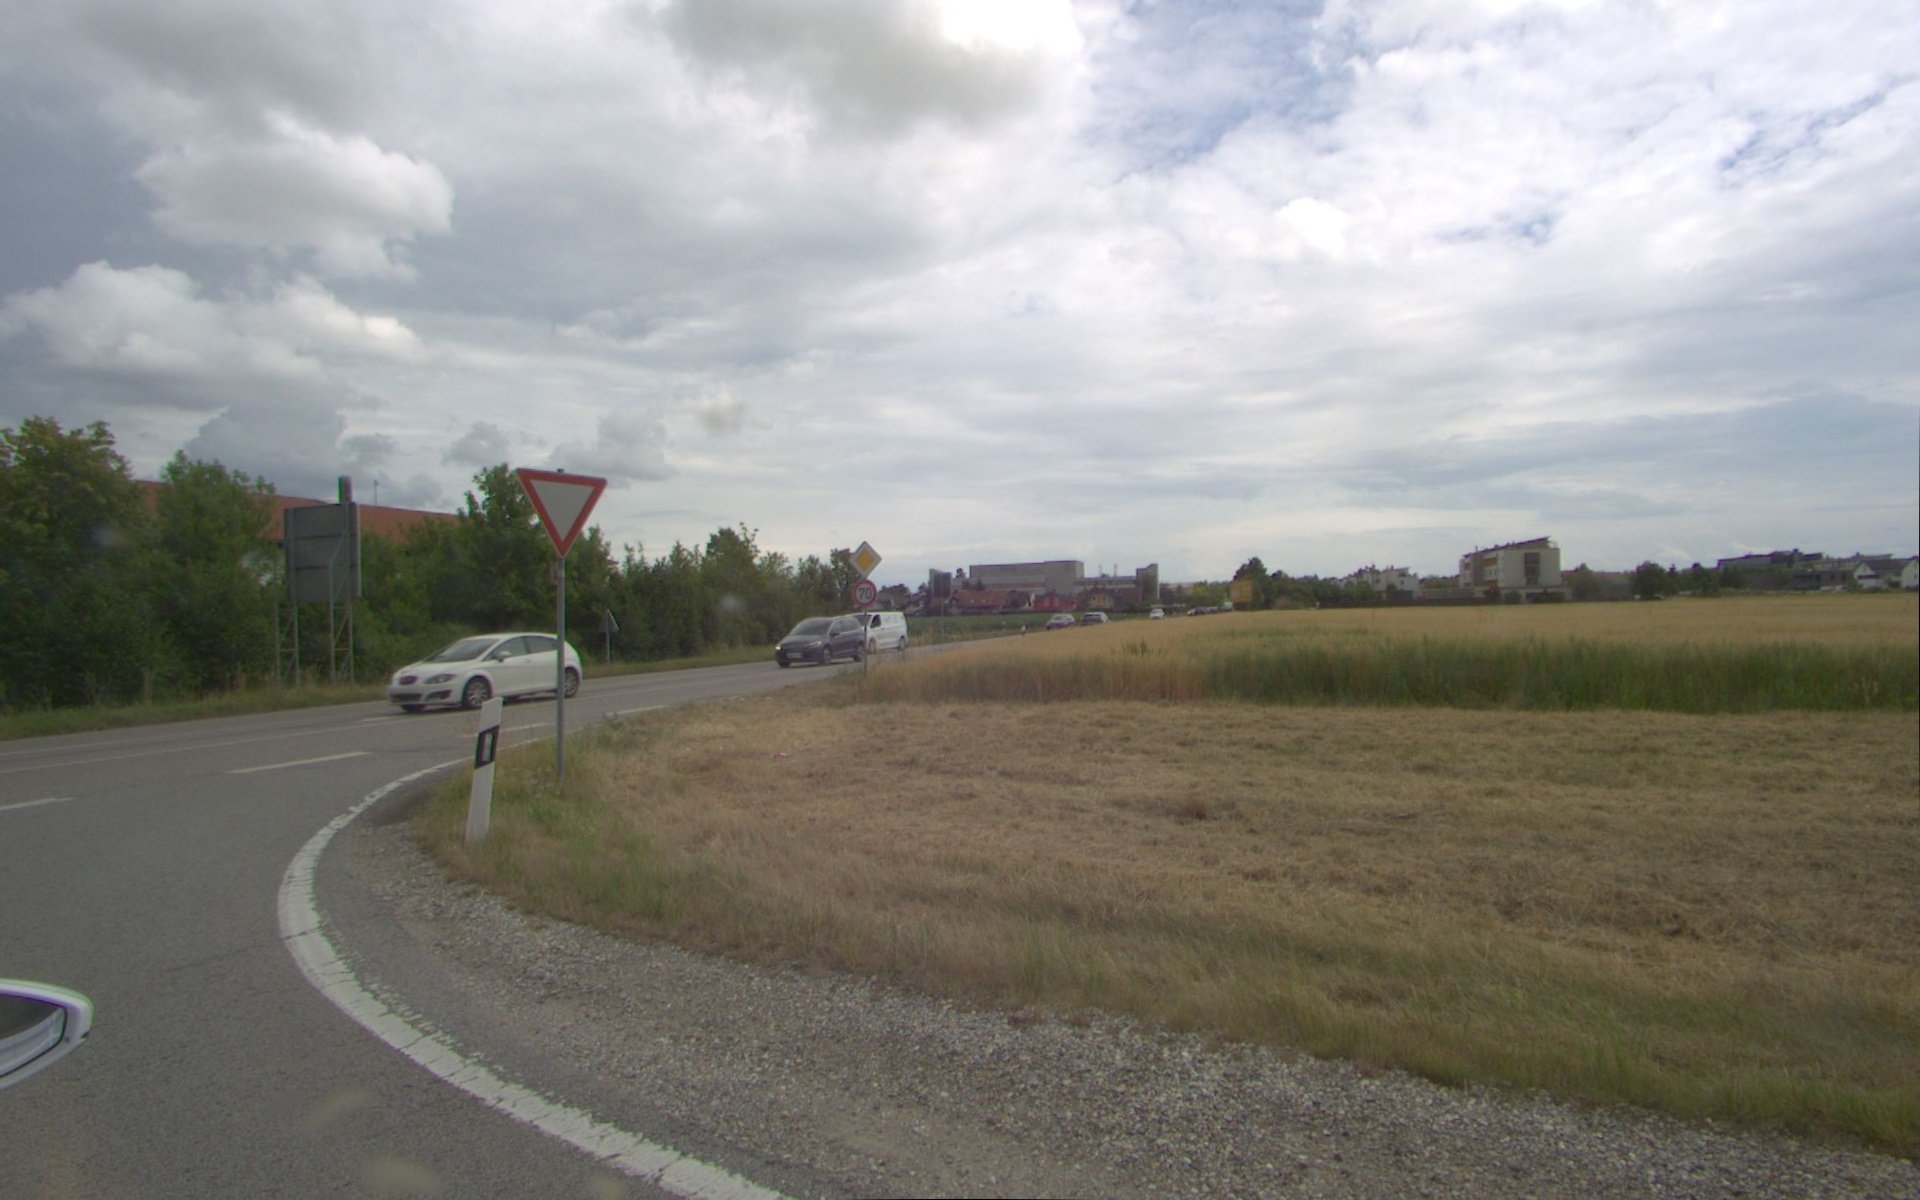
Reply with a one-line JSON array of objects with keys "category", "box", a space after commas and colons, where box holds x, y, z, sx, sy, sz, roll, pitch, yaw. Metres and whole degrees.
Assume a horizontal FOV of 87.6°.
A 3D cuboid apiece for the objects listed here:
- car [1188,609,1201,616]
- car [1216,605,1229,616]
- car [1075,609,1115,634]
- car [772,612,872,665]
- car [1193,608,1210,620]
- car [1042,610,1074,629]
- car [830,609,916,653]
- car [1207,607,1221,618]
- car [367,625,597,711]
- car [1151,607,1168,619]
[{"category": "car", "box": [40.959, 2.192, 174.869, 1.745, 1.257, 4.204, -2, -1, 17]}, {"category": "car", "box": [50.916, 1.988, 194.214, 2.084, 2.040, 4.730, -1, 0, 19]}, {"category": "car", "box": [9.197, 1.453, 68.060, 1.832, 1.586, 3.990, -1, 0, 21]}, {"category": "car", "box": [-4.780, 1.305, 35.229, 1.723, 1.680, 4.283, -3, -1, 18]}, {"category": "car", "box": [35.184, 2.027, 145.941, 1.832, 1.750, 3.990, -1, 0, 21]}, {"category": "car", "box": [7.964, 1.559, 81.063, 1.649, 1.420, 4.081, -3, -1, 19]}, {"category": "car", "box": [-4.072, 1.445, 47.828, 2.076, 1.910, 5.380, -2, -1, 18]}, {"category": "car", "box": [43.017, 2.146, 169.659, 1.832, 1.750, 3.990, -1, 0, 21]}, {"category": "car", "box": [-9.637, 1.315, 20.616, 1.788, 1.426, 4.305, -3, 0, 17]}, {"category": "car", "box": [26.594, 1.680, 133.129, 1.705, 1.450, 3.928, -3, -1, 18]}]
